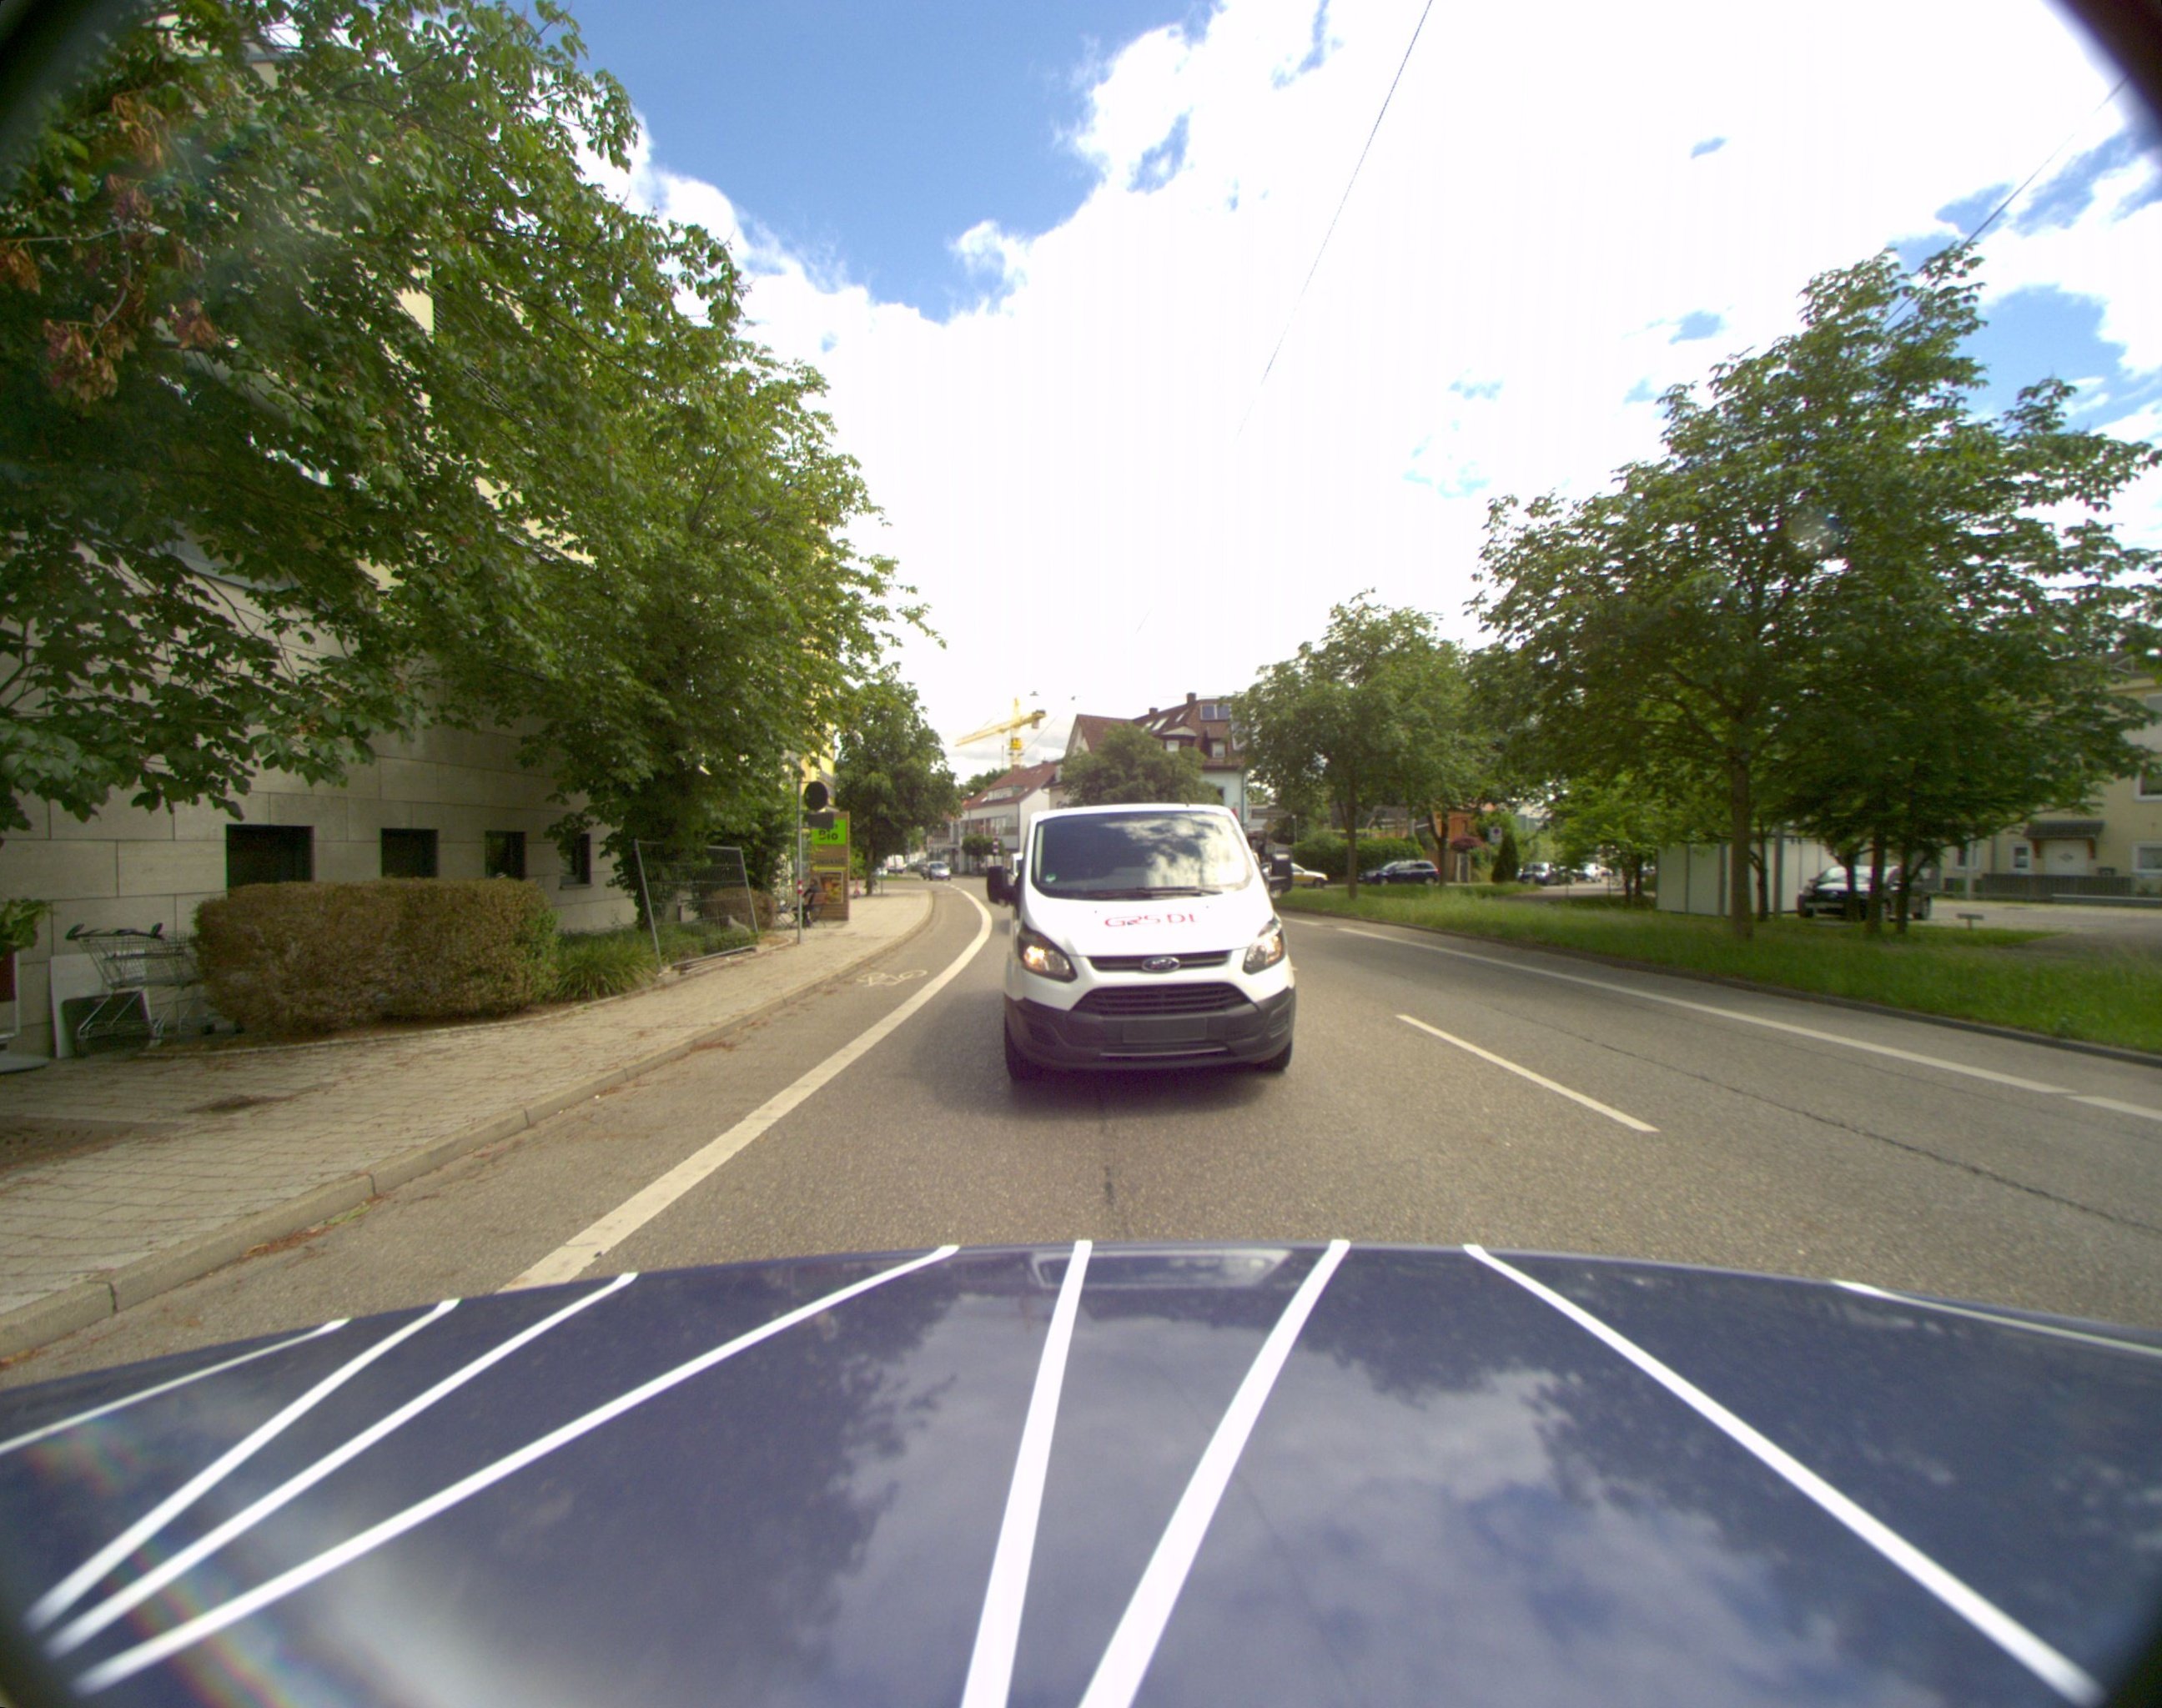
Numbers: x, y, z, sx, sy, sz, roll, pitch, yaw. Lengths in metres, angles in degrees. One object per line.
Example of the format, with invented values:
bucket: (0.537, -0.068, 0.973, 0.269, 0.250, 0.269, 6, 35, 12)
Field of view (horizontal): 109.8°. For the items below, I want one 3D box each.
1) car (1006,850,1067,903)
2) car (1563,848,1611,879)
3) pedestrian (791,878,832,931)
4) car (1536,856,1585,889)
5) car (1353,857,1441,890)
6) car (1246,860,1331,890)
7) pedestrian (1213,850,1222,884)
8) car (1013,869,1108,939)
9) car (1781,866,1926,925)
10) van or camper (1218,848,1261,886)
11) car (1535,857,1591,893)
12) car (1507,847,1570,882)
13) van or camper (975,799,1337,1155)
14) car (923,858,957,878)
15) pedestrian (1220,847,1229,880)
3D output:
car: (-1.778, 0.776, 28.896, 1.853, 1.805, 3.996, -3, 1, -9)
car: (36.534, 0.689, 54.818, 4.007, 2.002, 1.893, -3, 1, -42)
pedestrian: (-6.736, 1.252, 19.018, 0.731, 1.293, 0.754, 0, 0, 0)
car: (32.686, 1.227, 51.716, 1.994, 2.002, 4.007, -1, 1, 44)
car: (16.674, 1.005, 40.217, 3.976, 1.672, 1.717, 0, 1, -3)
car: (10.947, 1.083, 40.153, 4.046, 1.314, 1.534, -3, 1, -13)
pedestrian: (8.335, 0.796, 46.473, 0.425, 2.002, 0.363, -2, 1, 1)
car: (-0.599, 1.073, 17.834, 1.841, 1.382, 3.997, 0, 0, -7)
car: (20.826, 1.060, 20.472, 4.006, 1.411, 1.789, 0, 0, -30)
van or camper: (9.212, 0.713, 44.331, 1.793, 2.077, 3.811, -2, 1, 2)
car: (30.417, 1.289, 47.913, 4.007, 2.002, 1.994, -3, 1, -43)
car: (27.291, 0.610, 45.270, 4.008, 2.002, 1.976, 0, 0, -39)
van or camper: (0.436, 0.692, 6.813, 2.027, 2.002, 5.102, 0, 0, 0)
car: (-11.453, 1.092, 61.559, 1.696, 1.477, 3.992, -3, 1, -25)
pedestrian: (8.778, 0.564, 46.446, 0.383, 1.979, 0.443, -2, 1, 0)
